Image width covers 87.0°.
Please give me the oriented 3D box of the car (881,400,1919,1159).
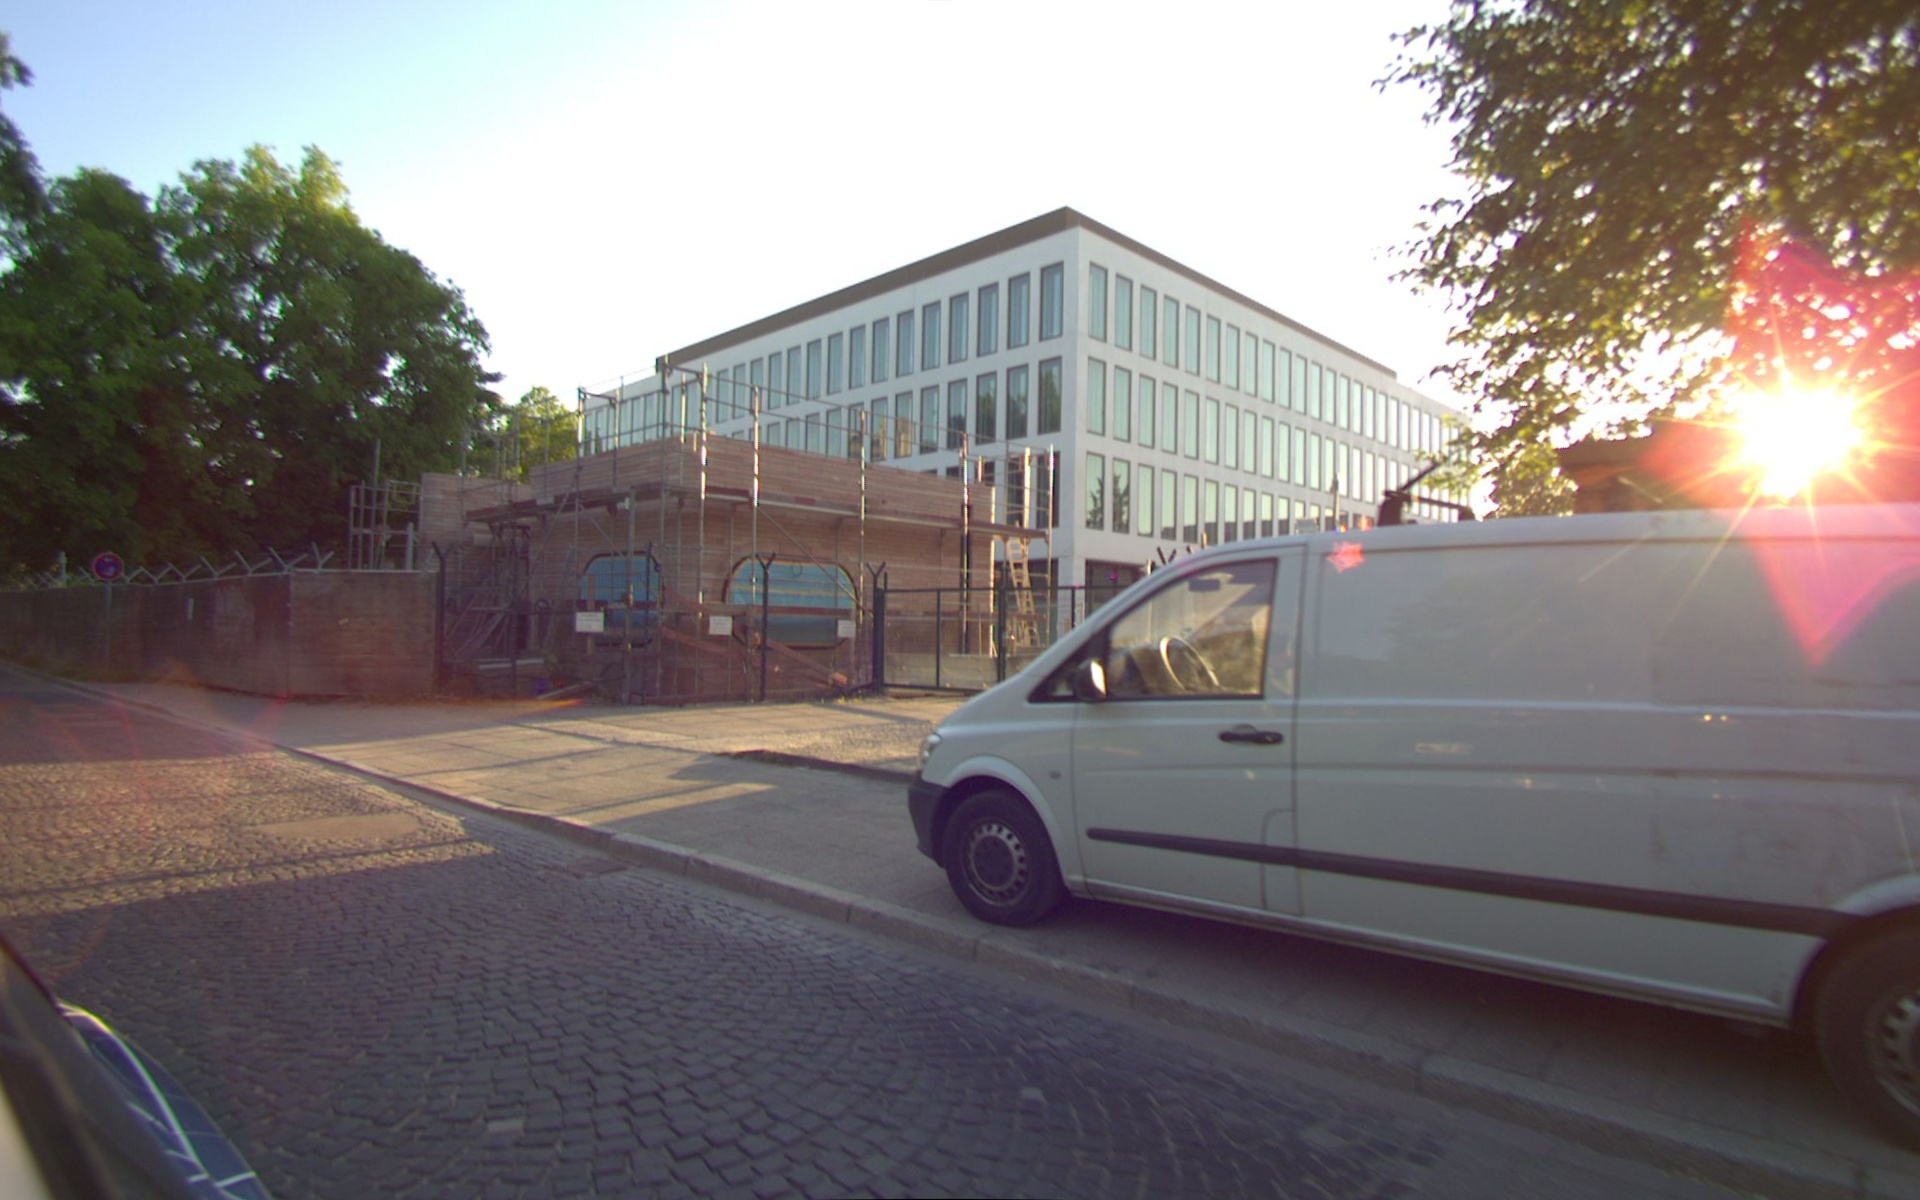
[{"bbox_3d":[2.202,0.482,4.220,5.221,2.029,1.864,-1,0,40],"label":"car"}]
